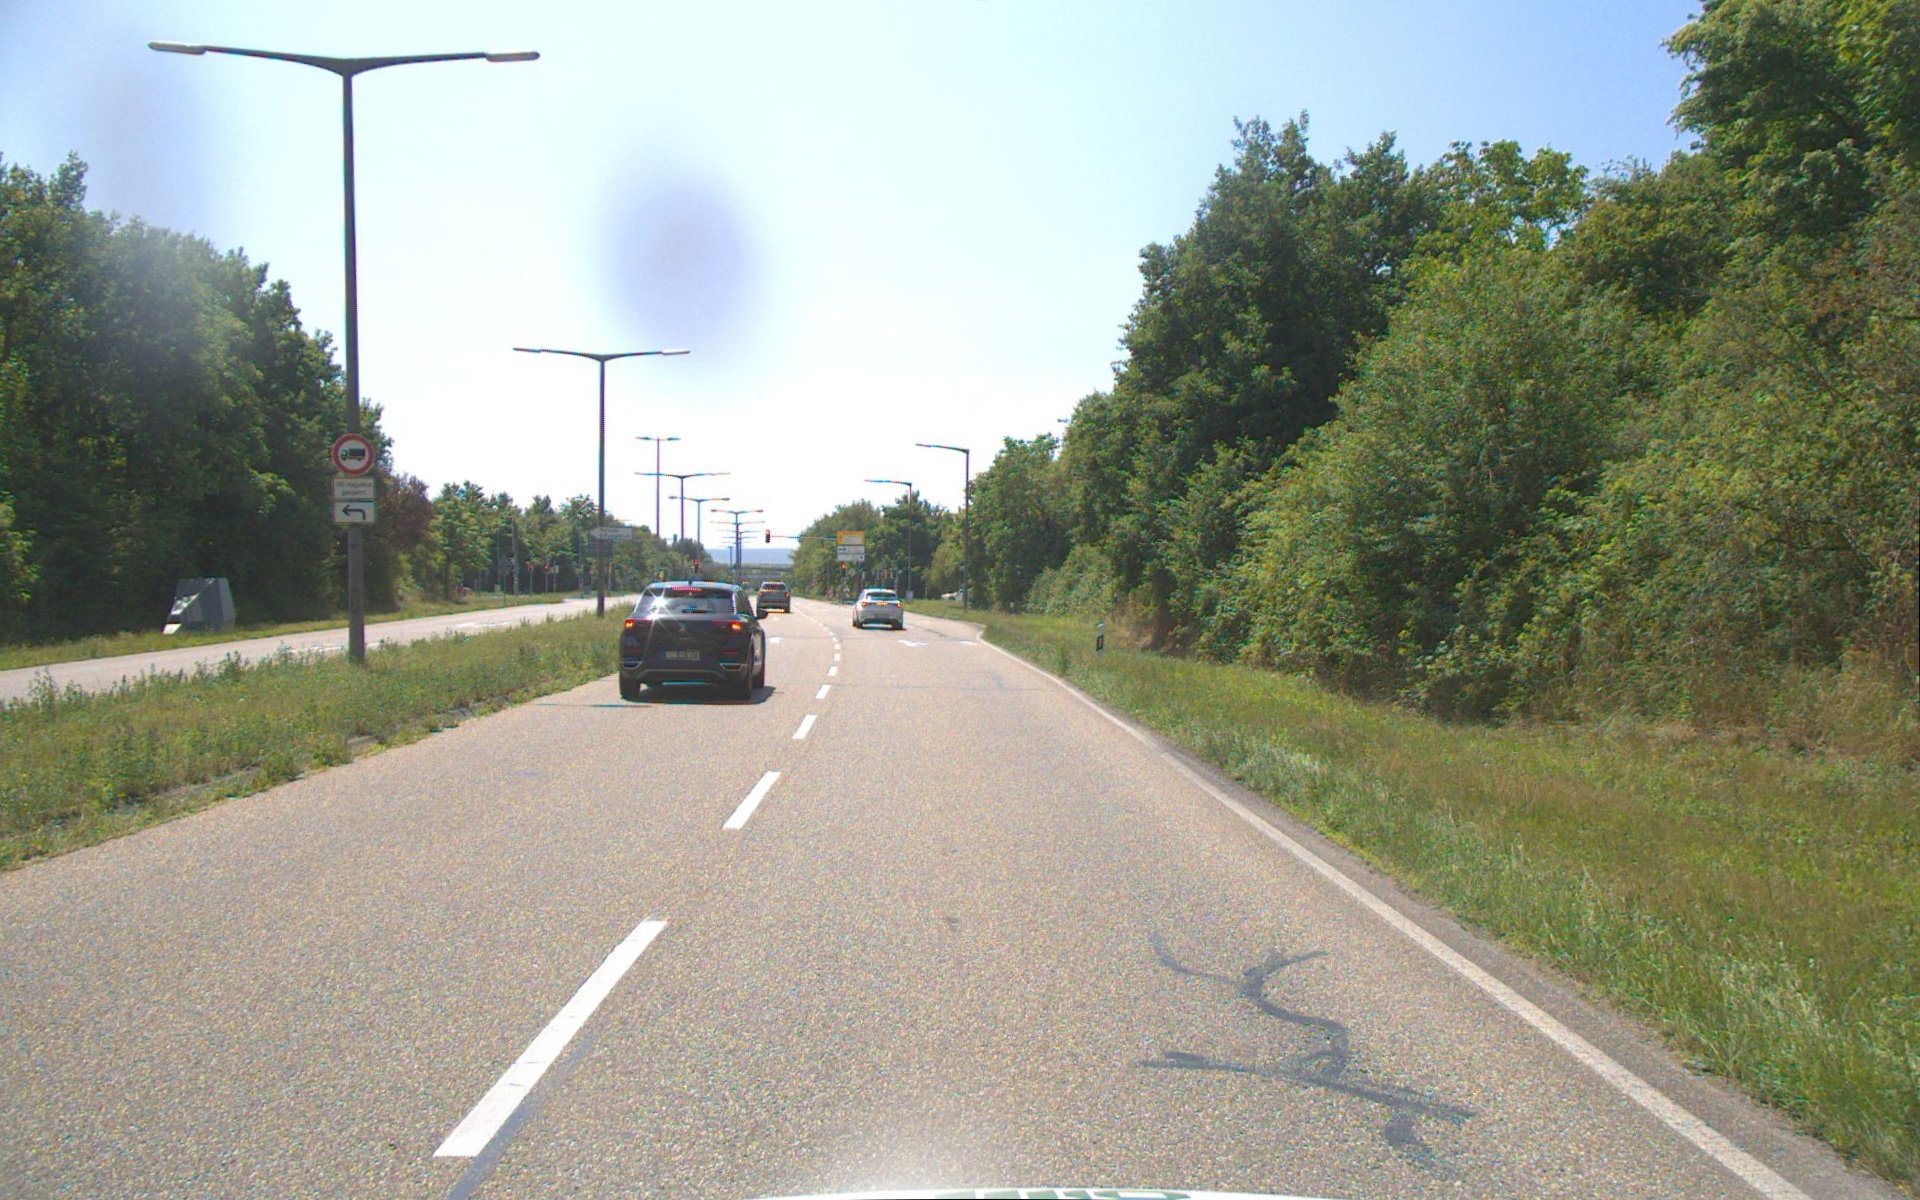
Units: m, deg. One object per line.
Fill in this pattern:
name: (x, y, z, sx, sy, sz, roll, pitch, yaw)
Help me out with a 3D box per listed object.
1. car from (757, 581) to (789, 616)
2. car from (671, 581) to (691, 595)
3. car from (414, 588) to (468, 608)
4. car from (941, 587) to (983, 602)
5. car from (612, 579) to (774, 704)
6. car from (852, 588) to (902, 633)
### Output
car: (-10.683, -0.090, 94.378, 1.722, 1.962, 3.994, 1, 0, -7)
car: (-30.715, -1.336, 182.115, 1.792, 1.545, 3.996, 1, 0, -5)
car: (-46.202, -0.151, 147.252, 4.448, 1.669, 1.970, 1, 0, -15)
car: (0.191, -0.597, 172.778, 4.033, 1.552, 1.930, 0, 0, -15)
car: (-3.659, 0.530, 23.297, 1.720, 1.583, 3.999, 1, 0, -2)
car: (-3.129, 0.375, 62.100, 1.762, 1.611, 3.996, 0, 0, -5)
